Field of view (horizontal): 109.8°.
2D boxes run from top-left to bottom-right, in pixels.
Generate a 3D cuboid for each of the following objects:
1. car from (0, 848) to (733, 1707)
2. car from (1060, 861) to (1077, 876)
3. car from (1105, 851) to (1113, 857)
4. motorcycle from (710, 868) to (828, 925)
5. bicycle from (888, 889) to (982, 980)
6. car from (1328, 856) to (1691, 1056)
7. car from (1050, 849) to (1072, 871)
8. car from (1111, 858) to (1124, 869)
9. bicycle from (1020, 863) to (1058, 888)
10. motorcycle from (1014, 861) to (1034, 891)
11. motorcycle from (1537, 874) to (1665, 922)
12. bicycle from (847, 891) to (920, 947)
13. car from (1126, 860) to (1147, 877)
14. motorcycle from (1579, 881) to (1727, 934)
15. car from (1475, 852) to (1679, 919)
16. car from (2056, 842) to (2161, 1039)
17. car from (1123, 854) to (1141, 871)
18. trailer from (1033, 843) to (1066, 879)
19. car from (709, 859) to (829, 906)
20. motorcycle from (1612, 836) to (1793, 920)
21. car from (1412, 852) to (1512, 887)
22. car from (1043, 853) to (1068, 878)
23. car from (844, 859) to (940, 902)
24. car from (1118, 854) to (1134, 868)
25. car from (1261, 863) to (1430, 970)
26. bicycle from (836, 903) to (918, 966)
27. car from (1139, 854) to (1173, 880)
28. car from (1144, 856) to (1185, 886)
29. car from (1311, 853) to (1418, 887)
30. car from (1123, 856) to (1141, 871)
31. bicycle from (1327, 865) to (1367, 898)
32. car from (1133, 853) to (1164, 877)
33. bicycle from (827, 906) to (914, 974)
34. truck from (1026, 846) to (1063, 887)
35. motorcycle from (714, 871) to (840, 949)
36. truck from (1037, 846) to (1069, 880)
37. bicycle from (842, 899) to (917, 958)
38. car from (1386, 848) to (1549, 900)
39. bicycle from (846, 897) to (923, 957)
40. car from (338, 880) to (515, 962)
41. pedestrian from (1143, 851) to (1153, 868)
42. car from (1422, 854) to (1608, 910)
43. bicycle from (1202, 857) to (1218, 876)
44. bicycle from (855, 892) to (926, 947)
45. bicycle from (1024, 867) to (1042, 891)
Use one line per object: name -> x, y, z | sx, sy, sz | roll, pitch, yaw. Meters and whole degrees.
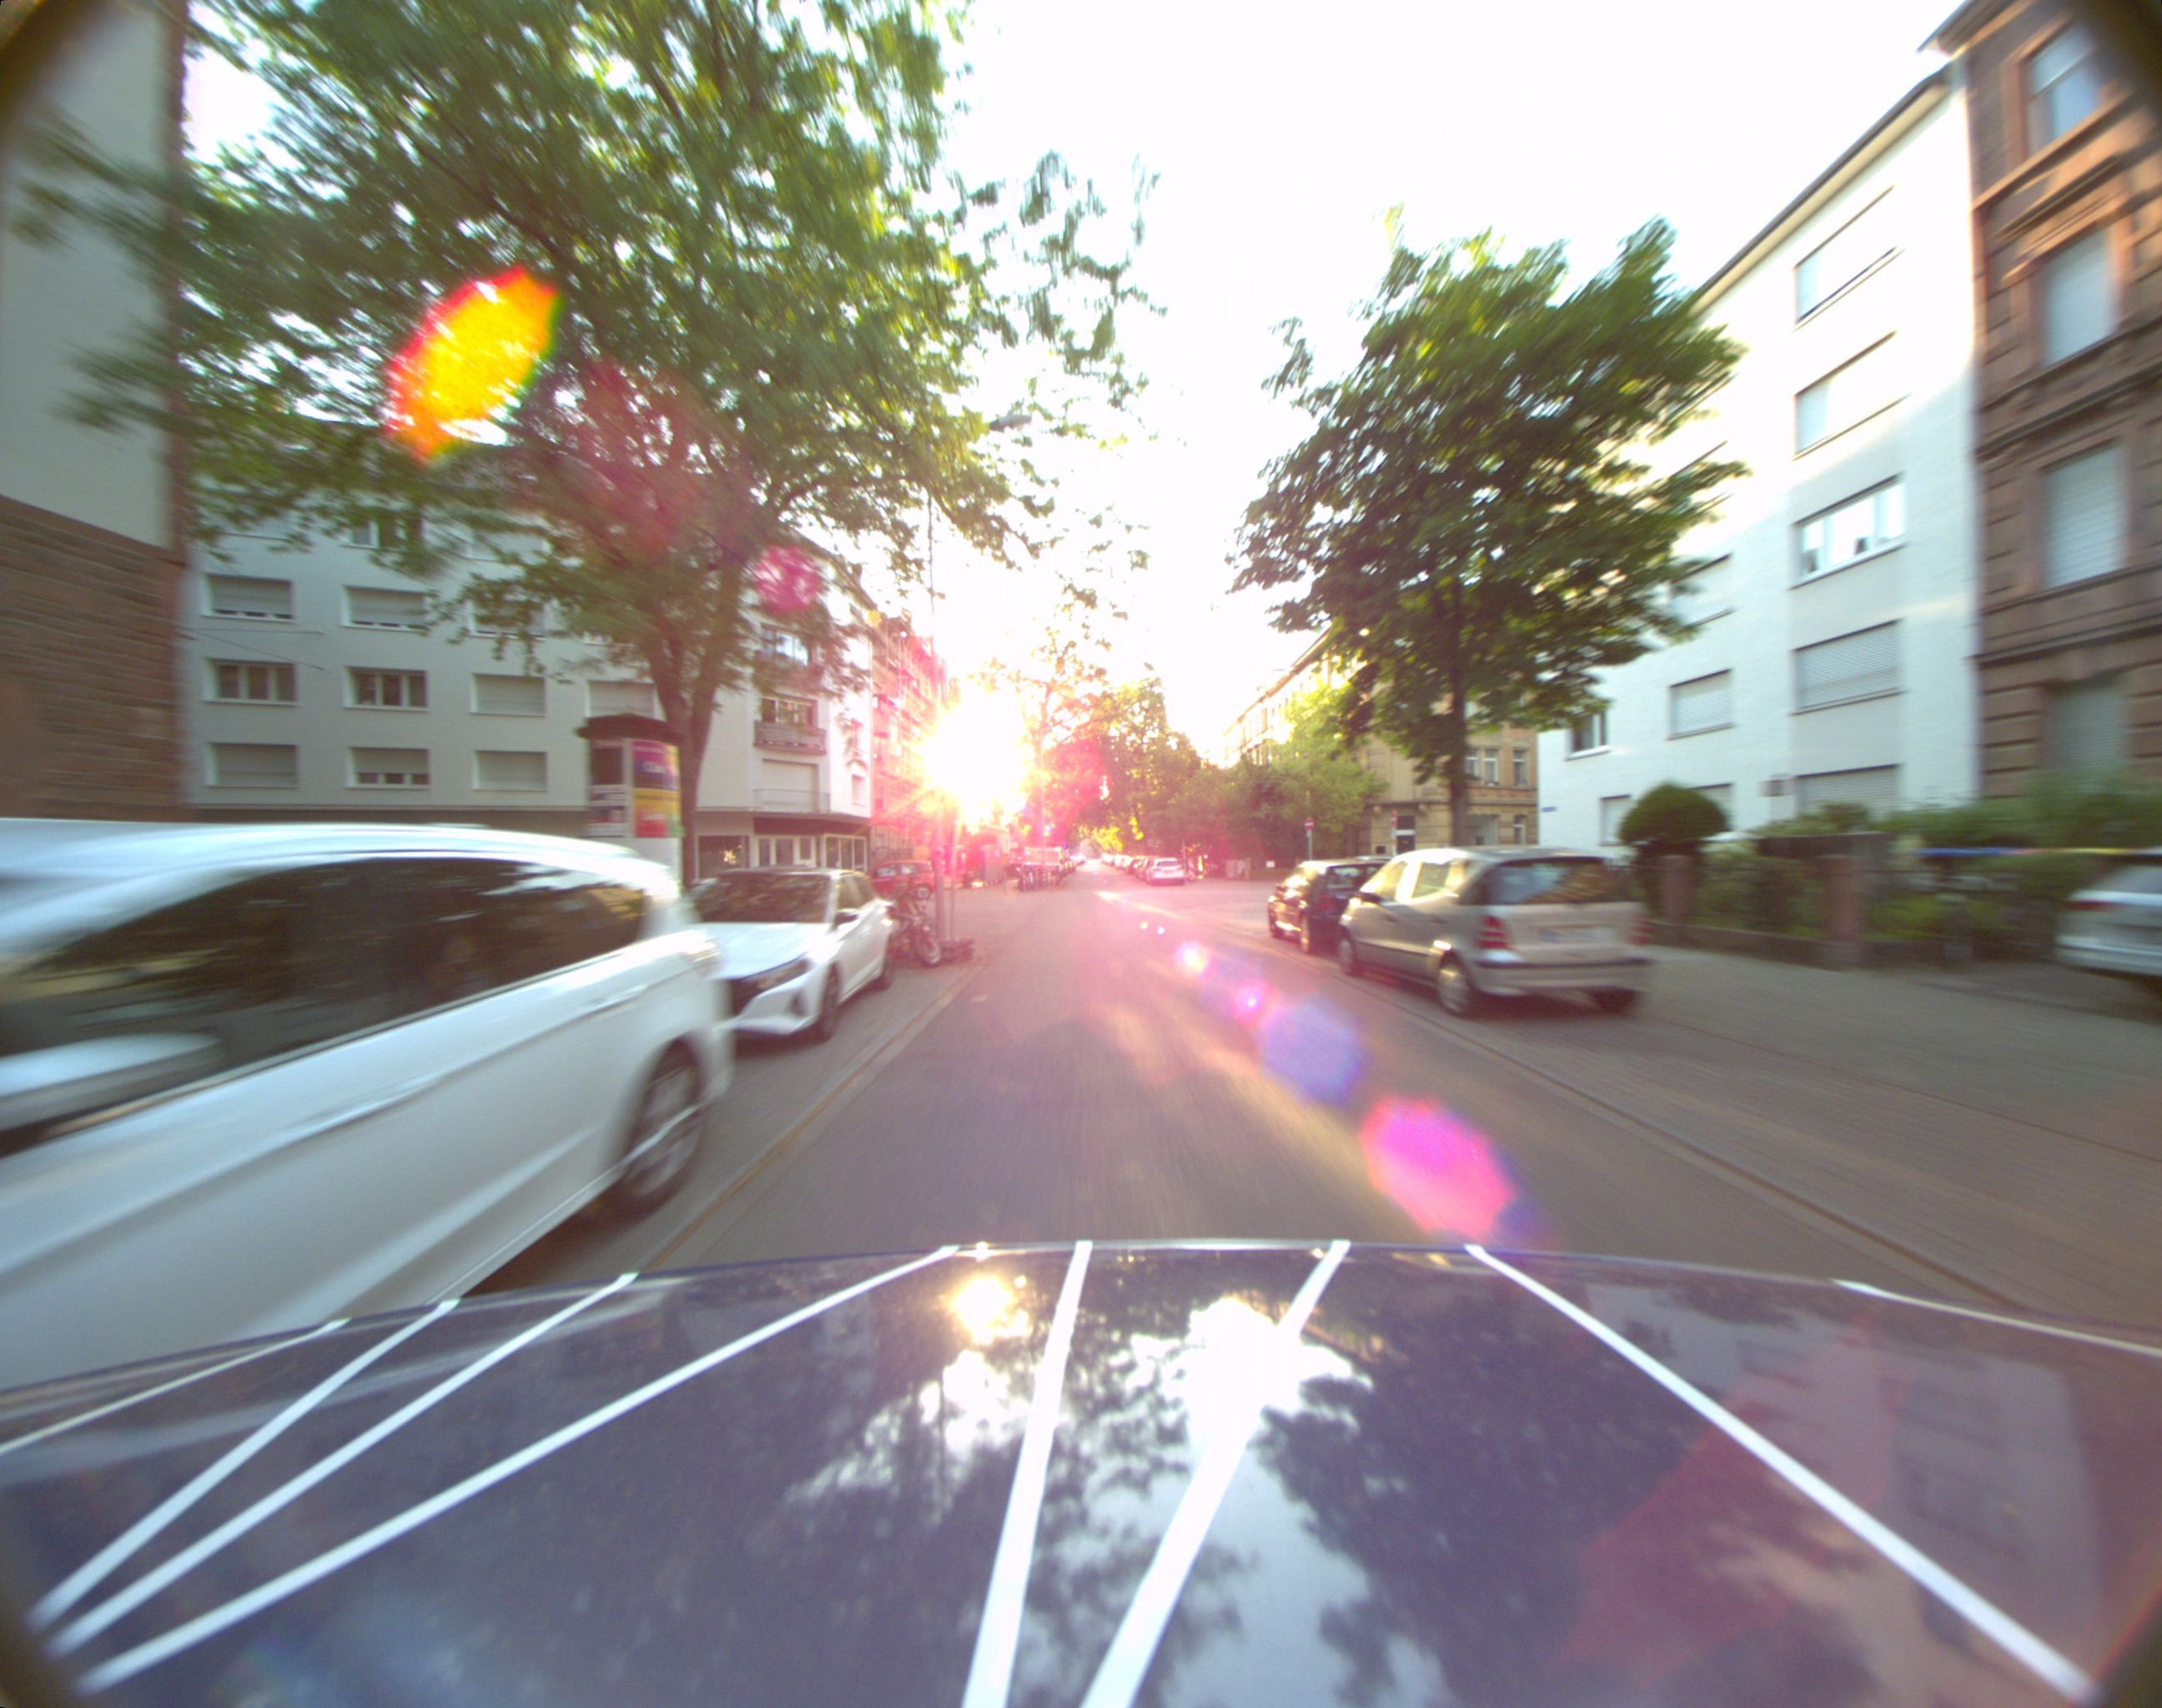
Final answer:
car -> -2.682, 0.845, 1.676 | 1.803, 1.701, 4.600 | 0, 0, -2
car -> -1.369, 1.555, 81.744 | 1.669, 1.491, 3.693 | 2, -1, -2
car -> 6.255, 0.003, 171.016 | 1.617, 1.433, 4.104 | -2, 0, -1
motorcycle -> -6.356, 0.841, 15.596 | 2.217, 1.073, 0.436 | 1, -1, -44
bicycle -> -2.124, 1.142, 11.236 | 0.444, 1.166, 1.639 | -1, 0, 26
car -> 4.119, 0.841, 8.078 | 1.600, 1.594, 3.743 | -1, 0, -2
car -> -1.842, 0.593, 72.952 | 1.959, 2.046, 4.830 | 2, -1, 0
car -> 5.849, 1.443, 121.355 | 1.871, 1.677, 4.592 | -2, 0, 0
bicycle -> -2.165, 1.111, 39.094 | 1.908, 1.251, 0.407 | 1, 0, -5
motorcycle -> -2.766, 1.047, 37.017 | 0.503, 1.348, 2.063 | 2, 1, 8
motorcycle -> 11.267, 0.948, 16.515 | 2.239, 0.952, 0.588 | -2, 0, 10
bicycle -> -3.559, 1.170, 13.739 | 1.227, 0.982, 0.330 | 0, -1, -3
car -> 4.915, 1.268, 67.995 | 1.555, 1.477, 3.694 | 0, 0, -1
motorcycle -> 10.958, 1.020, 14.614 | 2.239, 0.952, 0.588 | -1, 0, 10
car -> 11.504, 0.722, 17.858 | 3.569, 1.438, 1.819 | -1, -1, 10
car -> 10.601, 0.572, 5.787 | 4.103, 1.518, 1.709 | -4, 0, 0
car -> 4.781, 0.788, 71.261 | 1.555, 1.477, 3.695 | -3, 0, 4
trailer -> -2.082, 0.468, 51.743 | 1.959, 2.282, 4.645 | 2, 0, 1
car -> -11.311, 1.021, 27.747 | 3.900, 1.498, 1.624 | -2, 0, -20
motorcycle -> 12.473, 0.479, 15.326 | 2.857, 1.629, 0.675 | -1, 0, 9
car -> 18.281, 0.707, 36.540 | 4.107, 1.543, 1.707 | 0, 2, -10
car -> -2.045, 0.945, 62.463 | 1.843, 1.931, 4.614 | 2, -1, 0
car -> -7.289, 0.994, 29.275 | 3.481, 1.563, 1.624 | 0, -1, -18
car -> 5.364, 0.832, 91.513 | 1.668, 1.484, 3.710 | -3, 0, 0
car -> 4.204, 0.905, 12.716 | 1.620, 1.462, 3.962 | -1, 0, 3
bicycle -> -3.246, 1.264, 12.092 | 1.229, 0.942, 0.330 | 0, -1, -21
car -> 4.770, 0.790, 48.635 | 1.694, 1.493, 4.402 | -3, 1, 0
car -> 4.603, 0.896, 42.637 | 1.694, 1.493, 4.738 | -3, 0, 0
car -> 13.365, 0.757, 35.923 | 4.467, 1.542, 1.708 | 0, -1, -9
car -> 5.076, 0.937, 76.628 | 1.607, 1.427, 3.886 | -3, 0, 2
bicycle -> 9.606, 0.977, 27.524 | 0.243, 1.174, 1.676 | -1, 0, -25
car -> 4.692, 0.768, 53.414 | 1.694, 1.554, 4.403 | -3, 0, 0
bicycle -> -3.174, 1.283, 11.477 | 1.230, 0.945, 0.330 | 0, -1, -27
truck -> -2.049, 0.650, 44.656 | 1.982, 2.231, 6.775 | -1, 0, -1
motorcycle -> -5.845, 1.029, 14.735 | 0.584, 1.399, 2.217 | -1, -1, 45
truck -> -1.968, 0.640, 54.578 | 1.959, 2.233, 4.645 | 2, -1, 1
bicycle -> -3.492, 1.278, 13.190 | 1.229, 0.957, 0.330 | 0, -1, -16
car -> 11.661, 0.615, 23.190 | 4.100, 1.438, 1.710 | -1, -1, 10
bicycle -> -3.307, 1.212, 12.794 | 1.229, 0.951, 0.330 | 0, -1, -21
car -> -14.378, 1.397, 16.950 | 1.682, 1.469, 3.428 | -2, 0, -16
pedestrian -> 8.068, 0.636, 92.023 | 0.869, 2.002, 1.008 | 0, 0, -19
car -> 11.906, 0.768, 21.105 | 4.099, 1.438, 1.819 | -1, -1, 11
bicycle -> 8.985, 0.826, 52.711 | 0.606, 1.277, 2.489 | 0, 0, 21
bicycle -> -3.521, 1.212, 14.111 | 1.227, 0.981, 0.330 | 0, -1, -1
bicycle -> -2.287, 1.198, 36.630 | 0.406, 1.103, 2.156 | 2, 0, 8
